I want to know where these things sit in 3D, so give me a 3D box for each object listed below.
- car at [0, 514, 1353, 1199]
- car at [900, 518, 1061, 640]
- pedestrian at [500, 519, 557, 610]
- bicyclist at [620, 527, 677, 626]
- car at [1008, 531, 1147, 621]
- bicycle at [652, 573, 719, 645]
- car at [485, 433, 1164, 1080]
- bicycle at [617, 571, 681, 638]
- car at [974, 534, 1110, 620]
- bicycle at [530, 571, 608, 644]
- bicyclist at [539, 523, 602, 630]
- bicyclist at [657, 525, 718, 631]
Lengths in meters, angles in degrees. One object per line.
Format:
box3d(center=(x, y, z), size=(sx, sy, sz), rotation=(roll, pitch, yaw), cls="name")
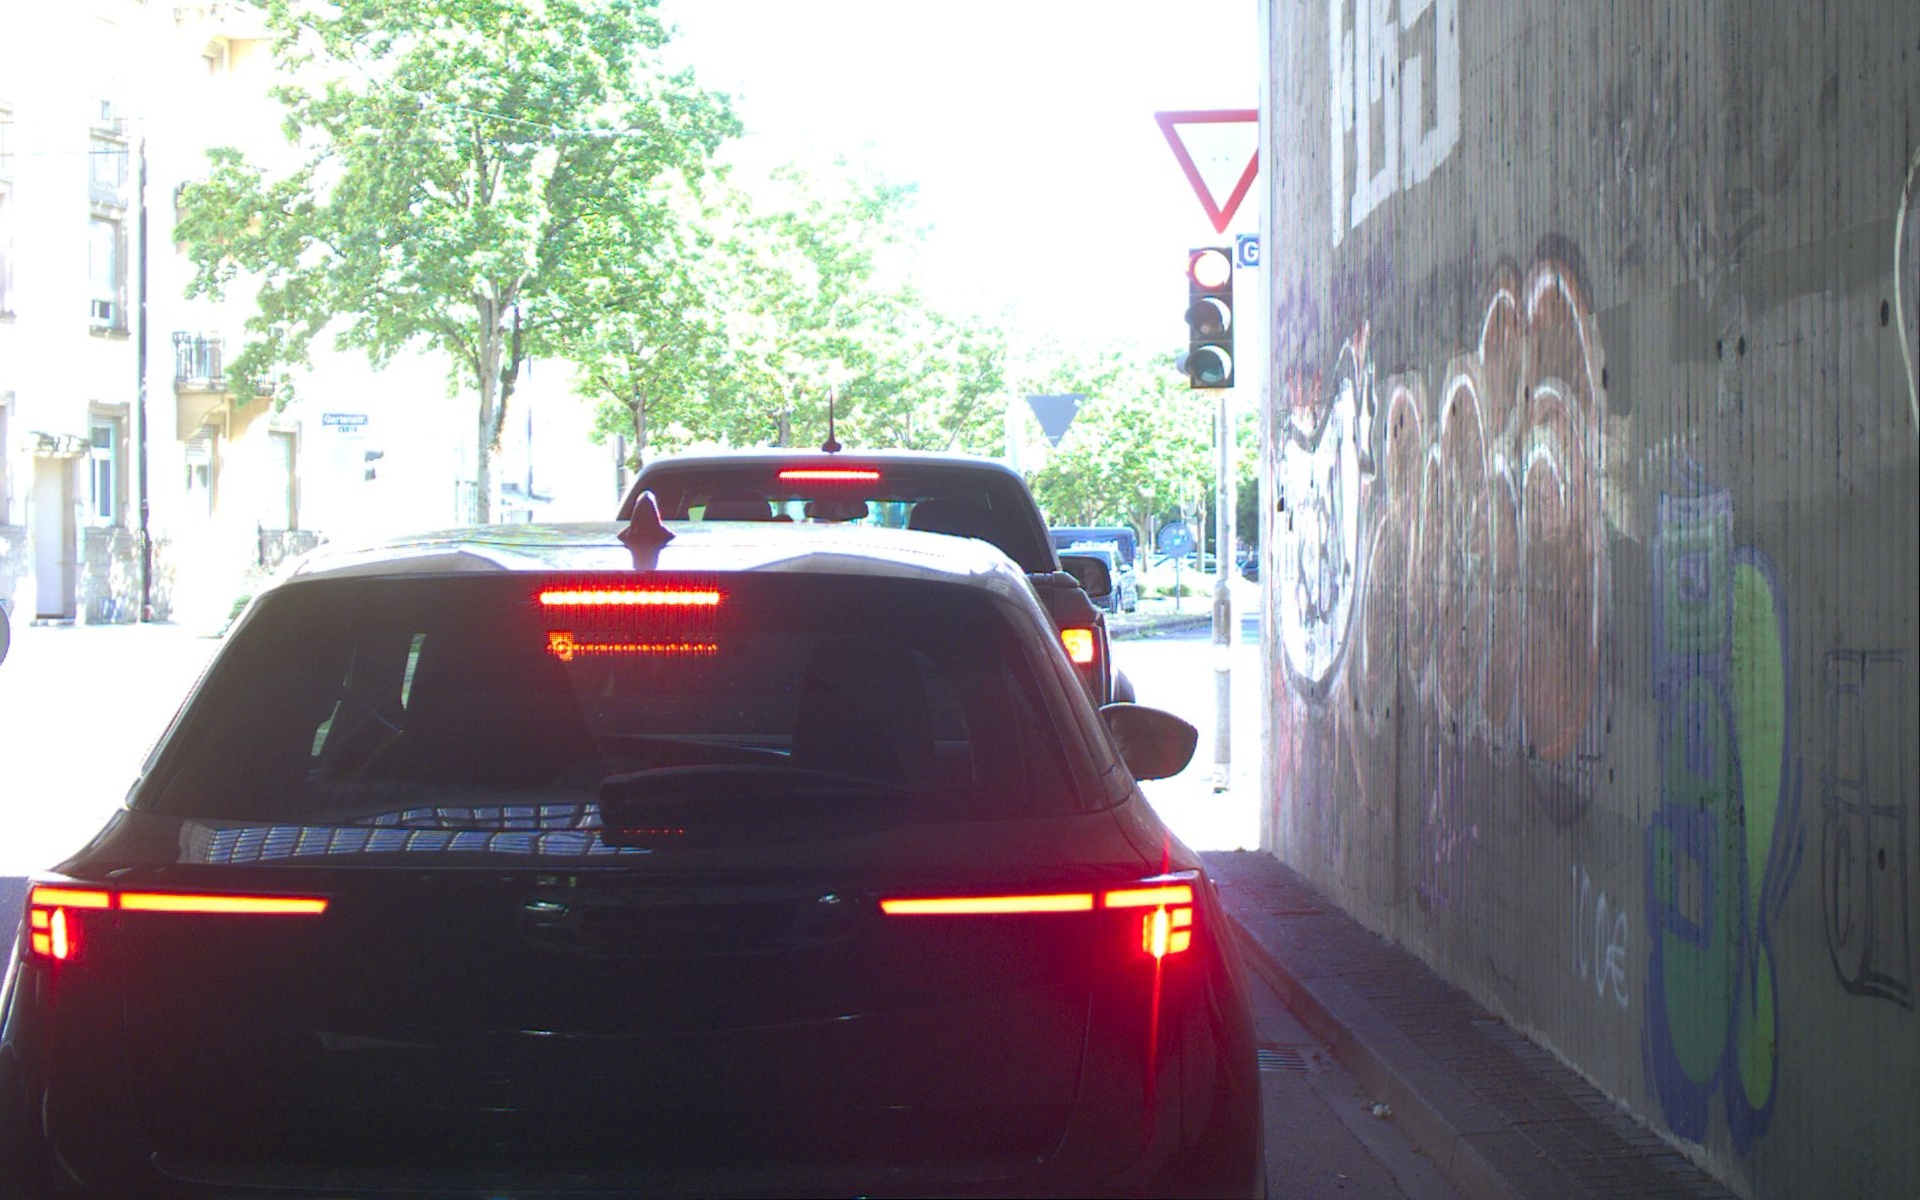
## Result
box3d(center=(-0.493, 0.634, 6.094), size=(1.882, 1.532, 3.964), rotation=(-1, 1, -1), cls="car")
box3d(center=(0.302, -0.238, 44.197), size=(1.968, 1.492, 3.896), rotation=(0, -1, 1), cls="car")
box3d(center=(-9.687, -0.800, 77.203), size=(0.992, 2.007, 1.088), rotation=(0, 1, 8), cls="pedestrian")
box3d(center=(-5.014, -0.380, 55.360), size=(0.729, 1.576, 0.814), rotation=(1, 0, 9), cls="bicyclist")
box3d(center=(2.399, -0.452, 69.029), size=(2.221, 1.713, 4.458), rotation=(0, -1, 10), cls="car")
box3d(center=(-4.155, 0.121, 52.091), size=(0.626, 1.064, 1.688), rotation=(1, 1, 9), cls="bicycle")
box3d(center=(-0.413, 0.415, 11.916), size=(1.945, 1.853, 3.964), rotation=(-1, 1, -1), cls="car")
box3d(center=(-5.007, 0.061, 55.479), size=(0.626, 1.064, 1.688), rotation=(1, 1, 9), cls="bicycle")
box3d(center=(1.513, -0.394, 62.219), size=(1.969, 1.492, 3.895), rotation=(0, -1, 9), cls="car")
box3d(center=(-5.852, 0.104, 51.540), size=(0.732, 1.064, 1.688), rotation=(1, 1, 9), cls="bicycle")
box3d(center=(-5.834, -0.353, 51.566), size=(0.729, 1.576, 0.814), rotation=(1, 0, 9), cls="bicyclist")
box3d(center=(-4.122, -0.335, 52.090), size=(0.729, 1.576, 0.814), rotation=(1, 0, 9), cls="bicyclist")
